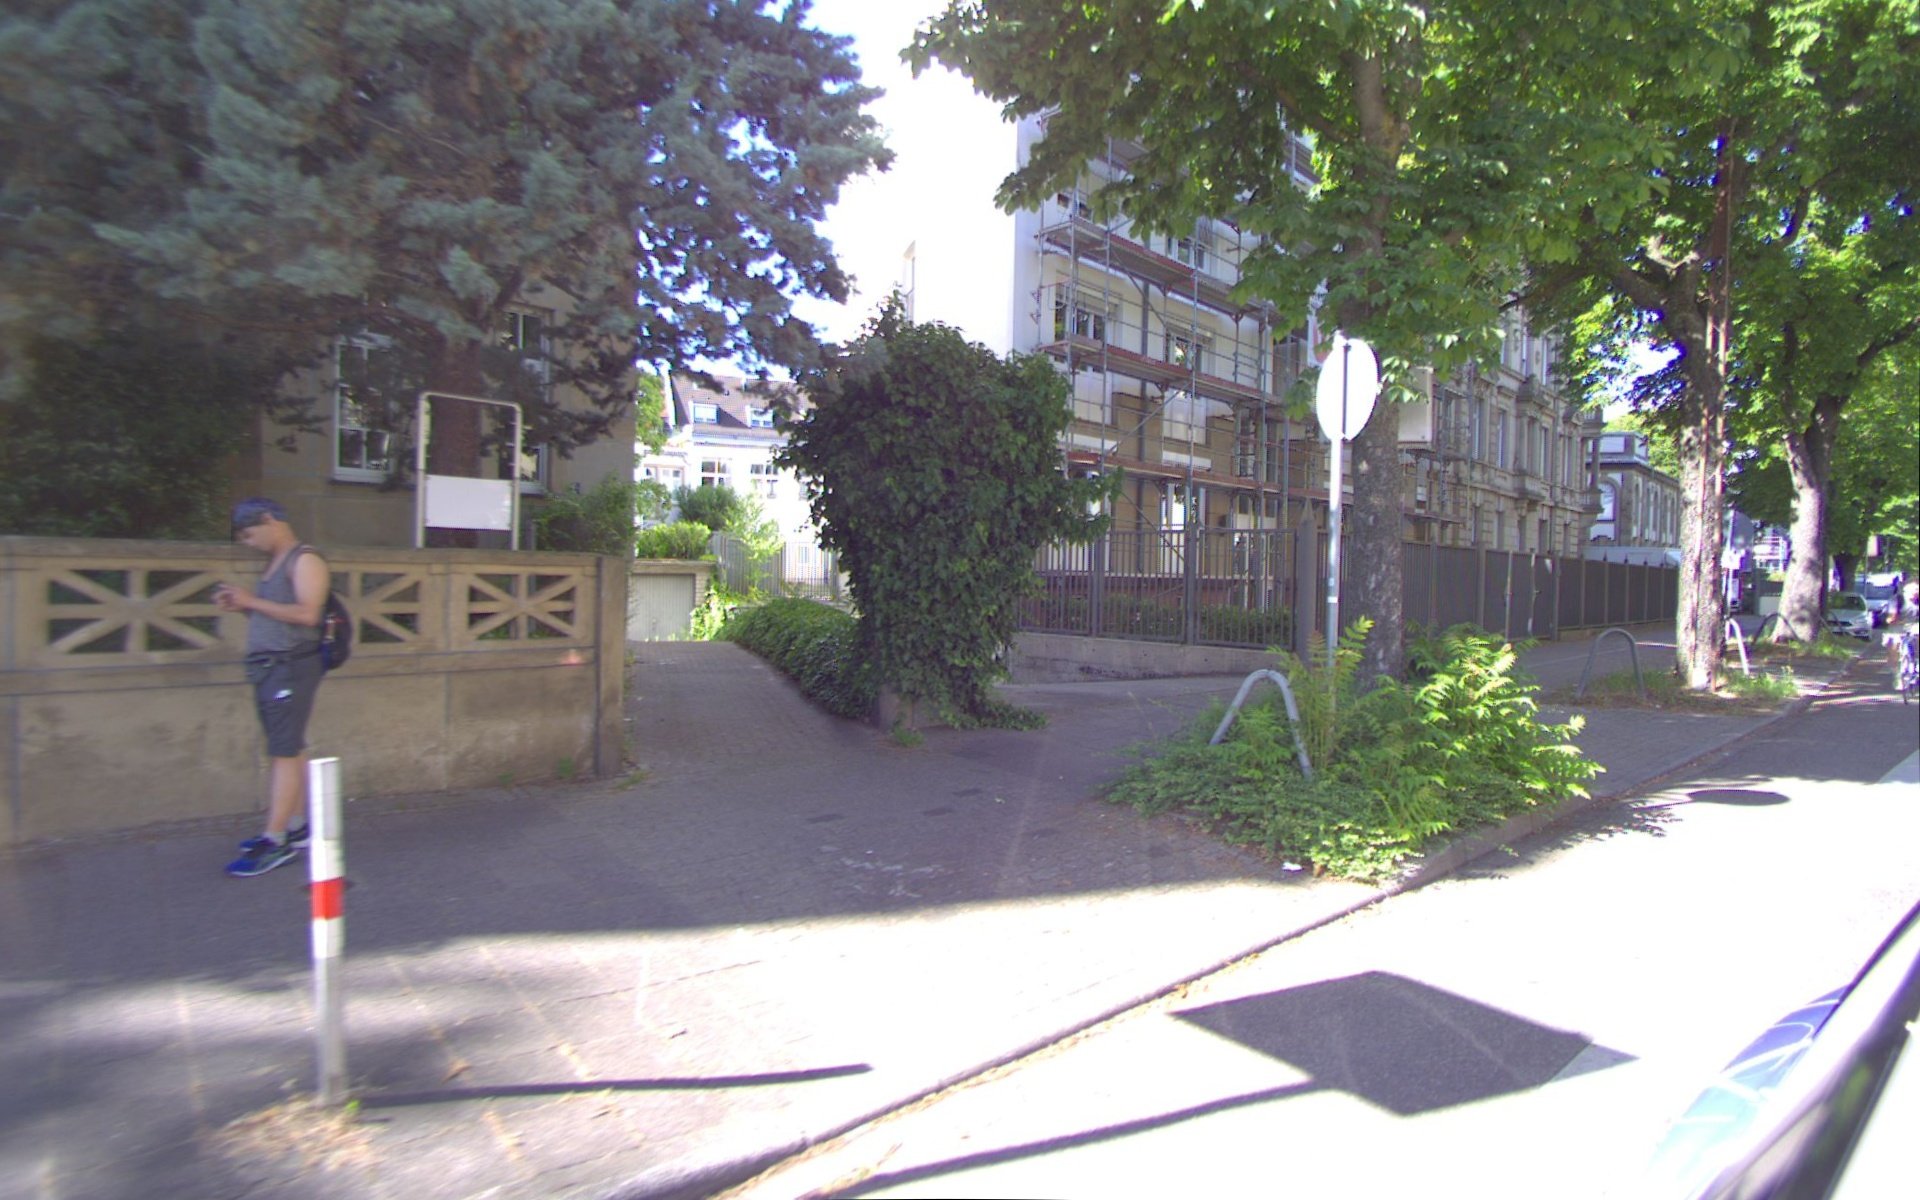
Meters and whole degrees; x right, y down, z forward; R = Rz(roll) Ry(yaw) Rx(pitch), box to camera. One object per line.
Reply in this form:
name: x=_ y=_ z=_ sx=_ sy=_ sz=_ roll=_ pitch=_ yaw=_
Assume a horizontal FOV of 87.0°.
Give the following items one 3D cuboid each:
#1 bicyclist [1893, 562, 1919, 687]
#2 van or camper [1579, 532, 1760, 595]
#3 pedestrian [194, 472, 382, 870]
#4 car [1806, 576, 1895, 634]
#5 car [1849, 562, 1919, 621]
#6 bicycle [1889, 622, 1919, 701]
bicyclist: x=13.253 y=0.320 z=13.926 sx=0.863 sy=1.690 sz=0.532 roll=-1 pitch=1 yaw=-43
van or camper: x=31.858 y=-1.626 z=45.823 sx=2.078 sy=2.659 sz=6.752 roll=-1 pitch=1 yaw=-19
pedestrian: x=-3.125 y=0.282 z=4.712 sx=0.636 sy=1.691 sz=0.593 roll=-1 pitch=4 yaw=-43
car: x=27.798 y=0.101 z=31.540 sx=1.873 sy=1.562 sz=4.298 roll=4 pitch=4 yaw=43
car: x=40.645 y=-0.443 z=44.456 sx=2.127 sy=2.371 sz=5.716 roll=4 pitch=4 yaw=43
bicycle: x=13.234 y=0.820 z=13.906 sx=2.022 sy=0.933 sz=0.534 roll=-2 pitch=2 yaw=-43
